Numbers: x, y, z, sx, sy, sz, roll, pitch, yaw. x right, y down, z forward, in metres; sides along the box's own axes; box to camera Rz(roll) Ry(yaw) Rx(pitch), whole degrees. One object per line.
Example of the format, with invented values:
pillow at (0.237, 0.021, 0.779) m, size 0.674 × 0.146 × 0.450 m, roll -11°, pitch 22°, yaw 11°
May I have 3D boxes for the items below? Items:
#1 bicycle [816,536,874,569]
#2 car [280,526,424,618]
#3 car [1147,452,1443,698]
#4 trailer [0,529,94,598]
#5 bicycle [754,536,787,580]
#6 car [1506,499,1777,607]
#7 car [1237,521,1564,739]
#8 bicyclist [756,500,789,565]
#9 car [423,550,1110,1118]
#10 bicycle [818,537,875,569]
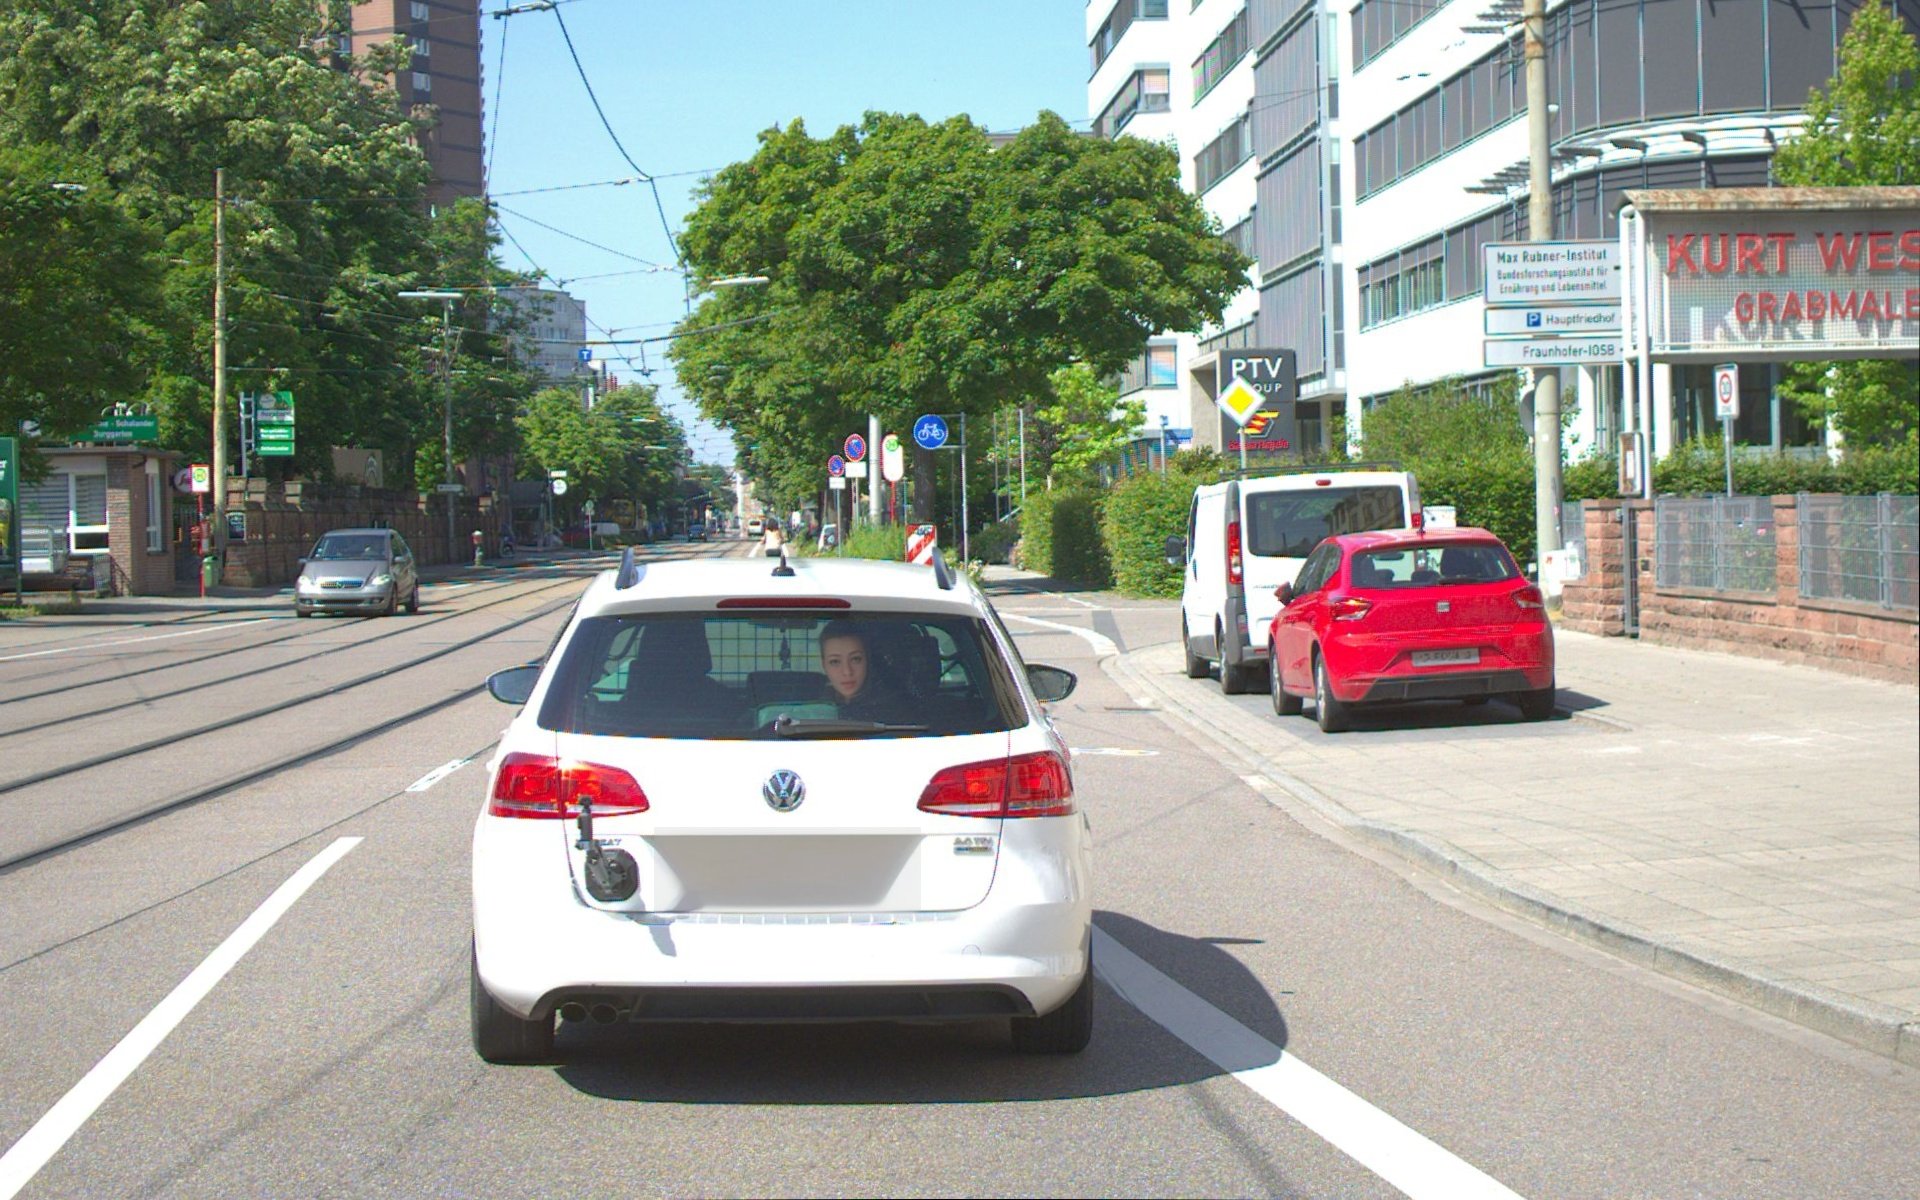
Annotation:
bicycle at (-3.926, -1.613, 117.455) m, size 1.911 × 1.079 × 0.551 m, roll 1°, pitch 1°, yaw -5°
car at (-11.095, -0.522, 63.008) m, size 1.746 × 1.566 × 3.891 m, roll -2°, pitch 1°, yaw 2°
car at (3.076, -0.269, 32.665) m, size 1.976 × 2.047 × 5.192 m, roll -3°, pitch 1°, yaw -3°
trailer at (-21.527, -0.819, 78.204) m, size 3.215 × 1.520 × 1.778 m, roll -1°, pitch 1°, yaw -2°
bicycle at (-4.803, -1.071, 87.238) m, size 0.811 × 1.074 × 2.012 m, roll -1°, pitch 1°, yaw -2°
car at (9.950, -0.696, 50.342) m, size 3.593 × 1.468 × 1.592 m, roll -1°, pitch 1°, yaw -2°
car at (3.282, 0.168, 26.392) m, size 1.722 × 1.438 × 4.313 m, roll -3°, pitch 1°, yaw -2°
bicyclist at (-4.774, -1.714, 87.455) m, size 0.785 × 1.623 × 0.738 m, roll 1°, pitch 0°, yaw -2°
car at (-0.590, 0.565, 11.030) m, size 1.753 × 1.437 × 4.413 m, roll 0°, pitch 1°, yaw -3°
bicycle at (-3.852, -1.596, 116.858) m, size 1.911 × 1.079 × 0.551 m, roll 0°, pitch 1°, yaw -5°
